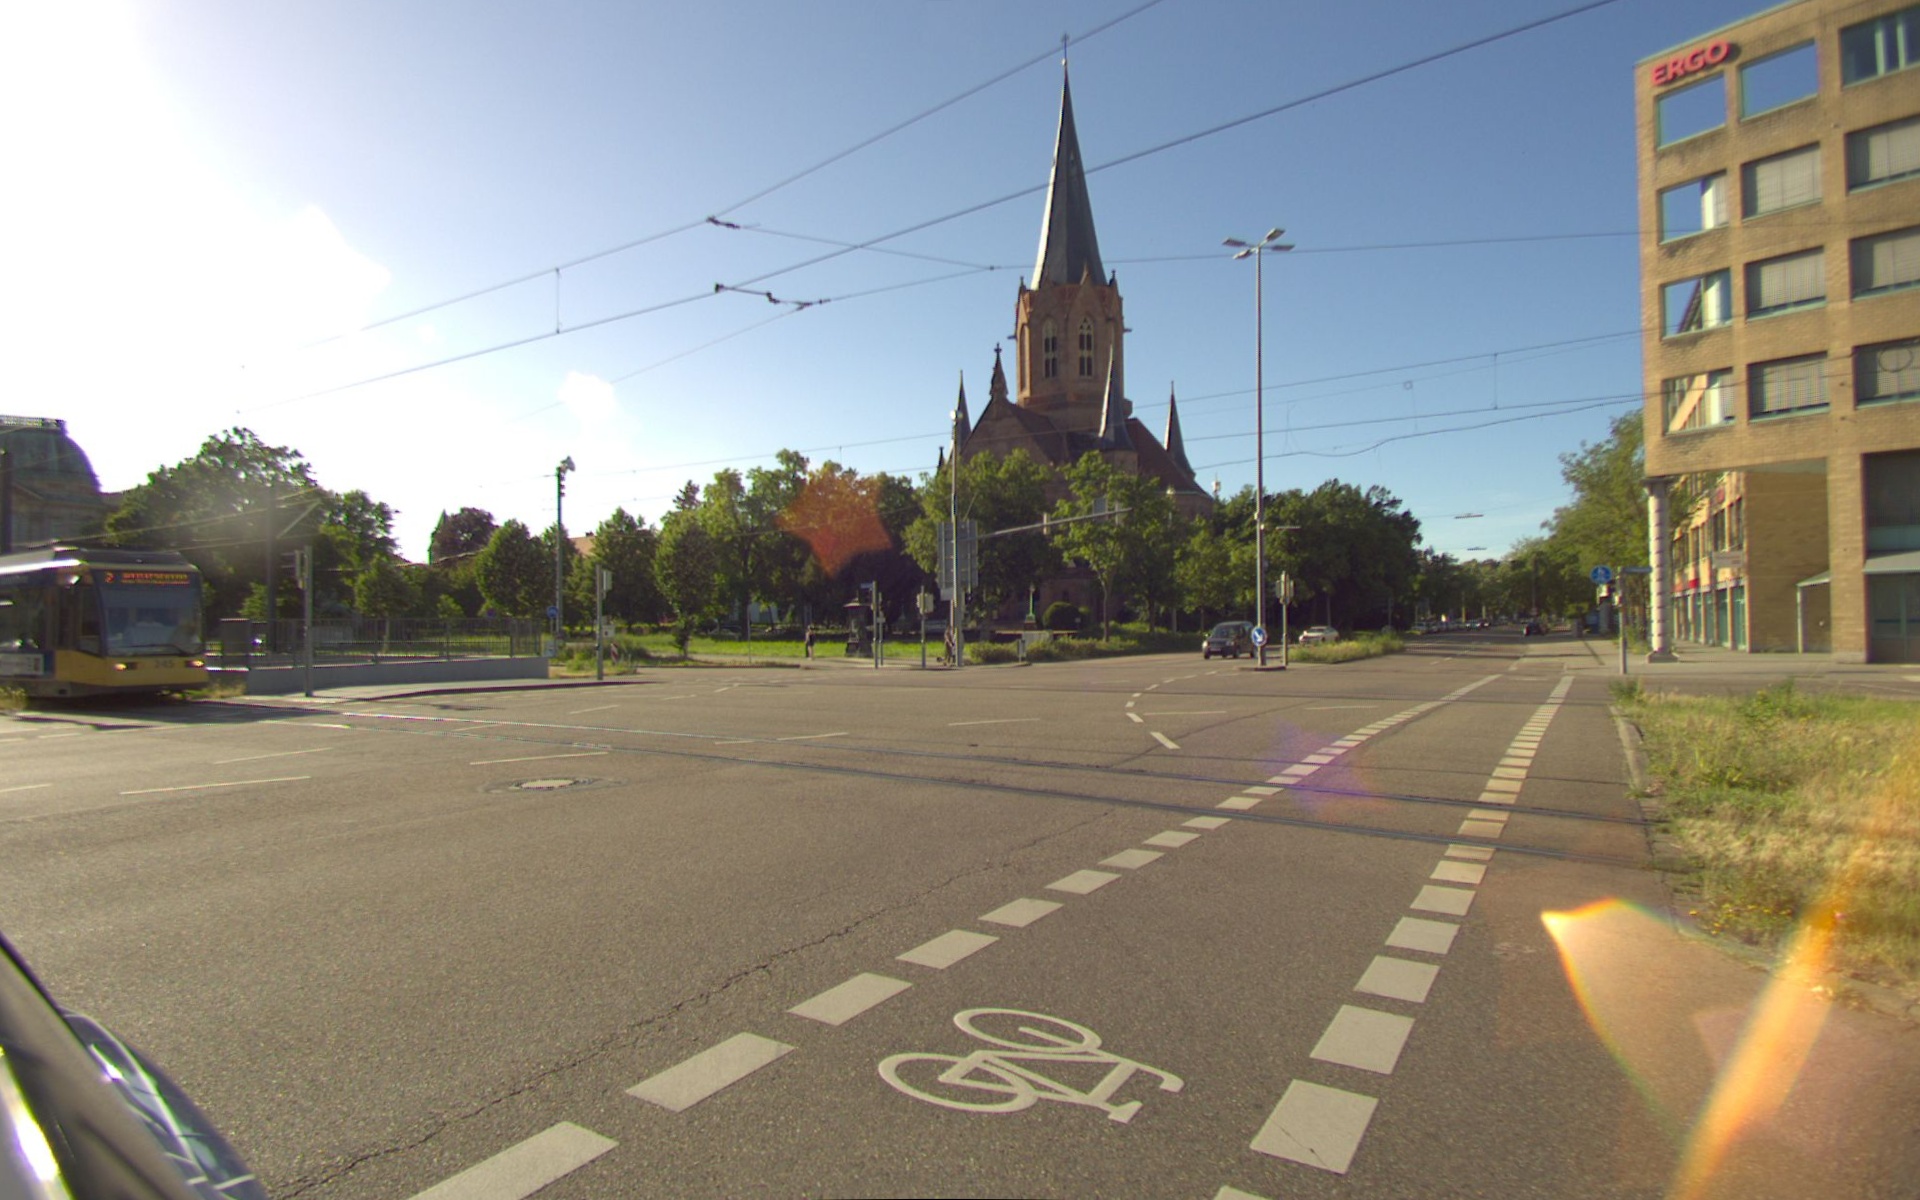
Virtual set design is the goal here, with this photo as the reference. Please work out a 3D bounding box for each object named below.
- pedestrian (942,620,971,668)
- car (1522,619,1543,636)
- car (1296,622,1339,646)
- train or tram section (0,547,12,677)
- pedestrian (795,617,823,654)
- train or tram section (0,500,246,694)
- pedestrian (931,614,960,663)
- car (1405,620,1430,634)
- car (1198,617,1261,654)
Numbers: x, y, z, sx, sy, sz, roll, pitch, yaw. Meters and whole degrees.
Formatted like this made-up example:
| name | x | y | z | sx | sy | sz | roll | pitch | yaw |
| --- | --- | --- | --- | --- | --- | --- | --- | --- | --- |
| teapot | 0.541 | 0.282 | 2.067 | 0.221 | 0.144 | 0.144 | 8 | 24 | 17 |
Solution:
| name | x | y | z | sx | sy | sz | roll | pitch | yaw |
| --- | --- | --- | --- | --- | --- | --- | --- | --- | --- |
| pedestrian | -0.150 | 1.922 | 44.359 | 0.922 | 2.029 | 0.870 | -1 | 1 | 32 |
| car | 60.964 | 2.902 | 107.788 | 1.831 | 1.586 | 3.902 | -1 | 1 | 31 |
| car | 27.609 | 2.593 | 78.010 | 1.766 | 1.586 | 4.654 | -1 | 1 | 38 |
| train or tram section | -33.231 | 0.522 | 30.698 | 13.584 | 3.640 | 2.928 | -2 | -1 | 31 |
| pedestrian | -7.813 | 1.809 | 52.443 | 1.110 | 1.860 | 0.837 | -1 | 1 | 29 |
| train or tram section | -21.828 | 0.102 | 24.010 | 13.135 | 3.713 | 2.928 | -2 | -1 | 31 |
| pedestrian | -0.618 | 1.621 | 43.302 | 0.922 | 2.029 | 0.870 | -1 | 1 | 32 |
| car | 56.050 | 3.301 | 123.954 | 1.835 | 1.586 | 3.893 | -1 | 1 | 38 |
| car | 13.091 | 1.687 | 48.990 | 1.832 | 1.586 | 3.900 | -1 | 1 | 32 |
